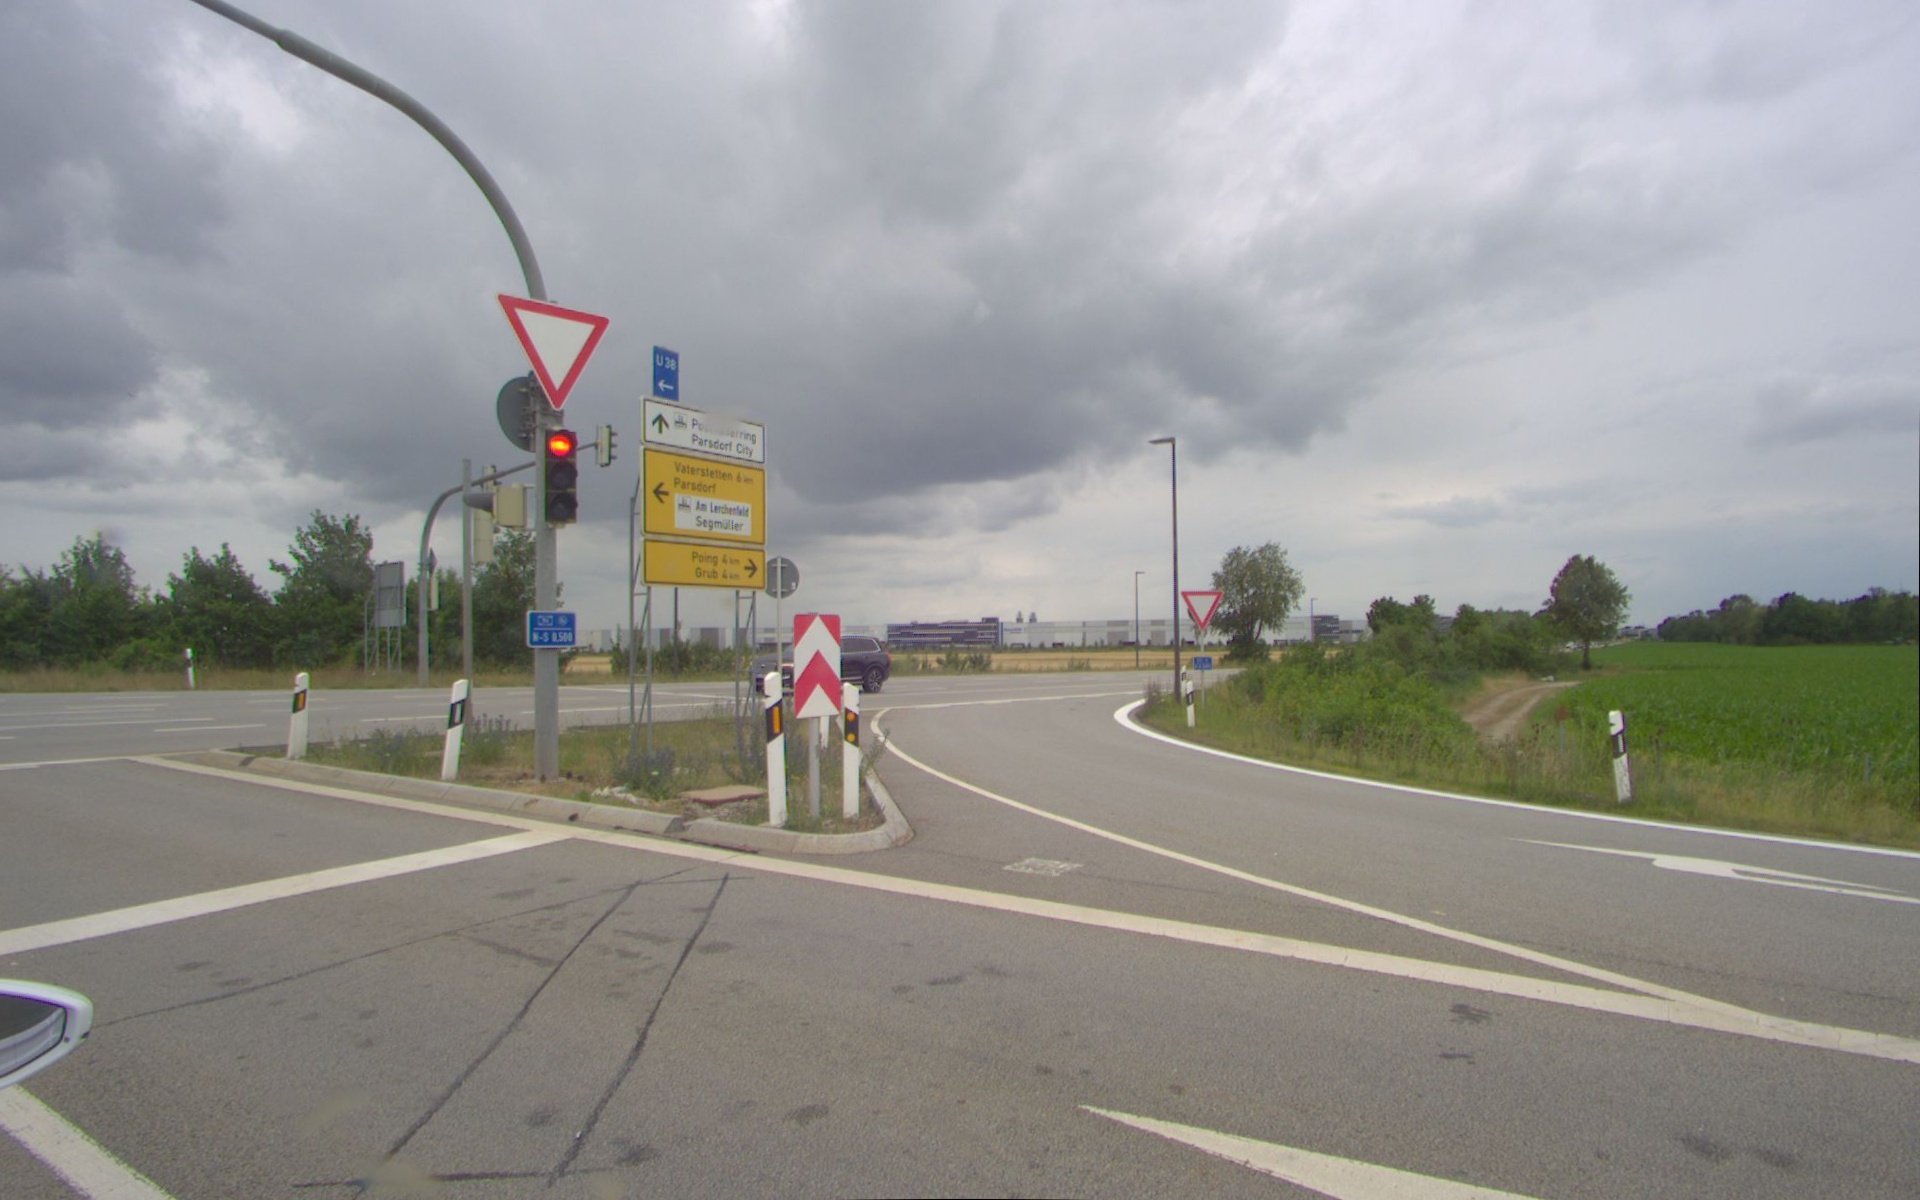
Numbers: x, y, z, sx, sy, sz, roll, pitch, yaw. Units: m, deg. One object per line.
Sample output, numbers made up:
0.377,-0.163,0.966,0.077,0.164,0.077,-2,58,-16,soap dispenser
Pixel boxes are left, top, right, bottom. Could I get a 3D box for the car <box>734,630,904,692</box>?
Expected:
-4.076,1.790,29.765,1.977,1.705,4.961,-2,-3,41,car
